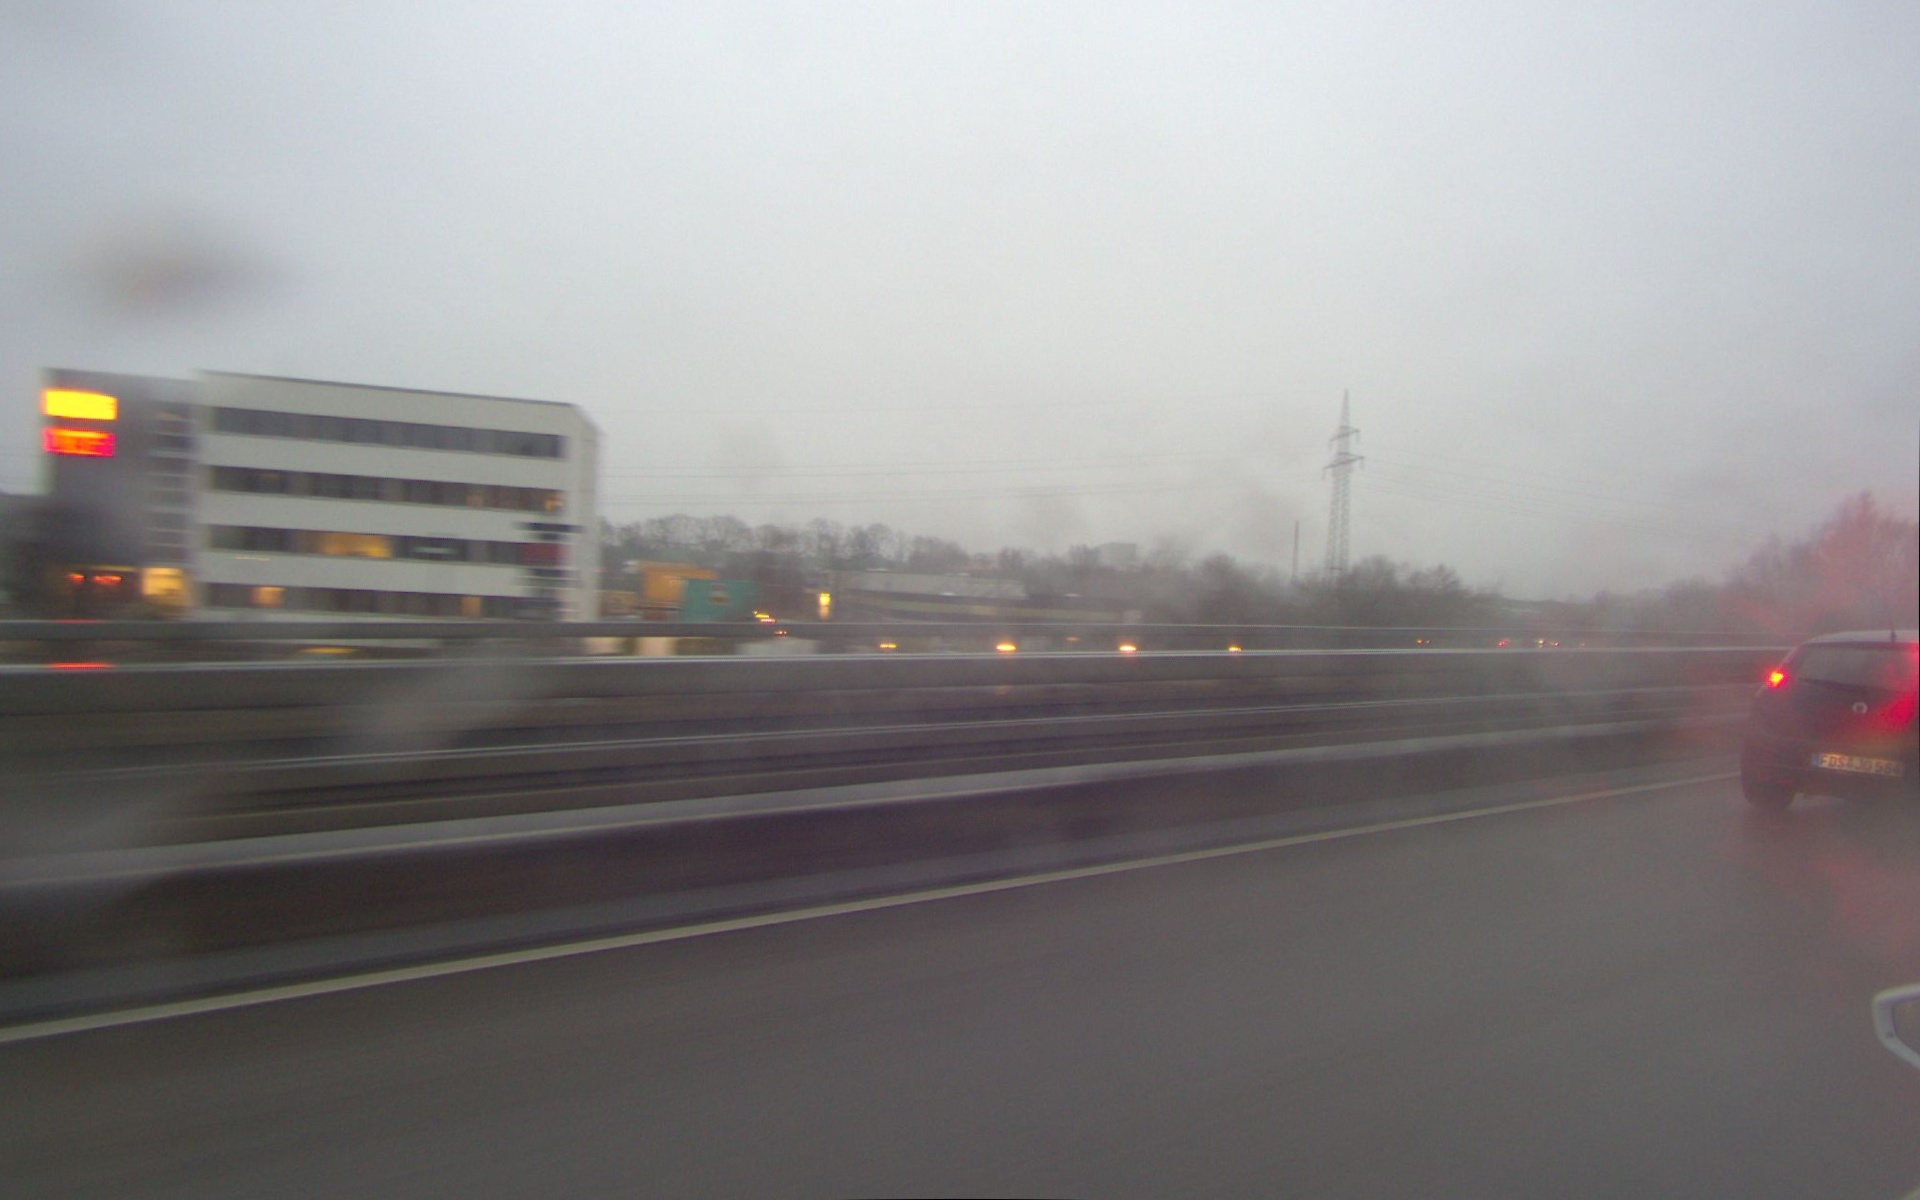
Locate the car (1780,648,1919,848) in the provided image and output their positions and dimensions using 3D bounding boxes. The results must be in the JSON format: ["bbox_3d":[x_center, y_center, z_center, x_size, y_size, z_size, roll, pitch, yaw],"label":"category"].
[{"bbox_3d":[8.423,1.163,8.274,3.962,1.410,1.615,4,-4,-36],"label":"car"}]
